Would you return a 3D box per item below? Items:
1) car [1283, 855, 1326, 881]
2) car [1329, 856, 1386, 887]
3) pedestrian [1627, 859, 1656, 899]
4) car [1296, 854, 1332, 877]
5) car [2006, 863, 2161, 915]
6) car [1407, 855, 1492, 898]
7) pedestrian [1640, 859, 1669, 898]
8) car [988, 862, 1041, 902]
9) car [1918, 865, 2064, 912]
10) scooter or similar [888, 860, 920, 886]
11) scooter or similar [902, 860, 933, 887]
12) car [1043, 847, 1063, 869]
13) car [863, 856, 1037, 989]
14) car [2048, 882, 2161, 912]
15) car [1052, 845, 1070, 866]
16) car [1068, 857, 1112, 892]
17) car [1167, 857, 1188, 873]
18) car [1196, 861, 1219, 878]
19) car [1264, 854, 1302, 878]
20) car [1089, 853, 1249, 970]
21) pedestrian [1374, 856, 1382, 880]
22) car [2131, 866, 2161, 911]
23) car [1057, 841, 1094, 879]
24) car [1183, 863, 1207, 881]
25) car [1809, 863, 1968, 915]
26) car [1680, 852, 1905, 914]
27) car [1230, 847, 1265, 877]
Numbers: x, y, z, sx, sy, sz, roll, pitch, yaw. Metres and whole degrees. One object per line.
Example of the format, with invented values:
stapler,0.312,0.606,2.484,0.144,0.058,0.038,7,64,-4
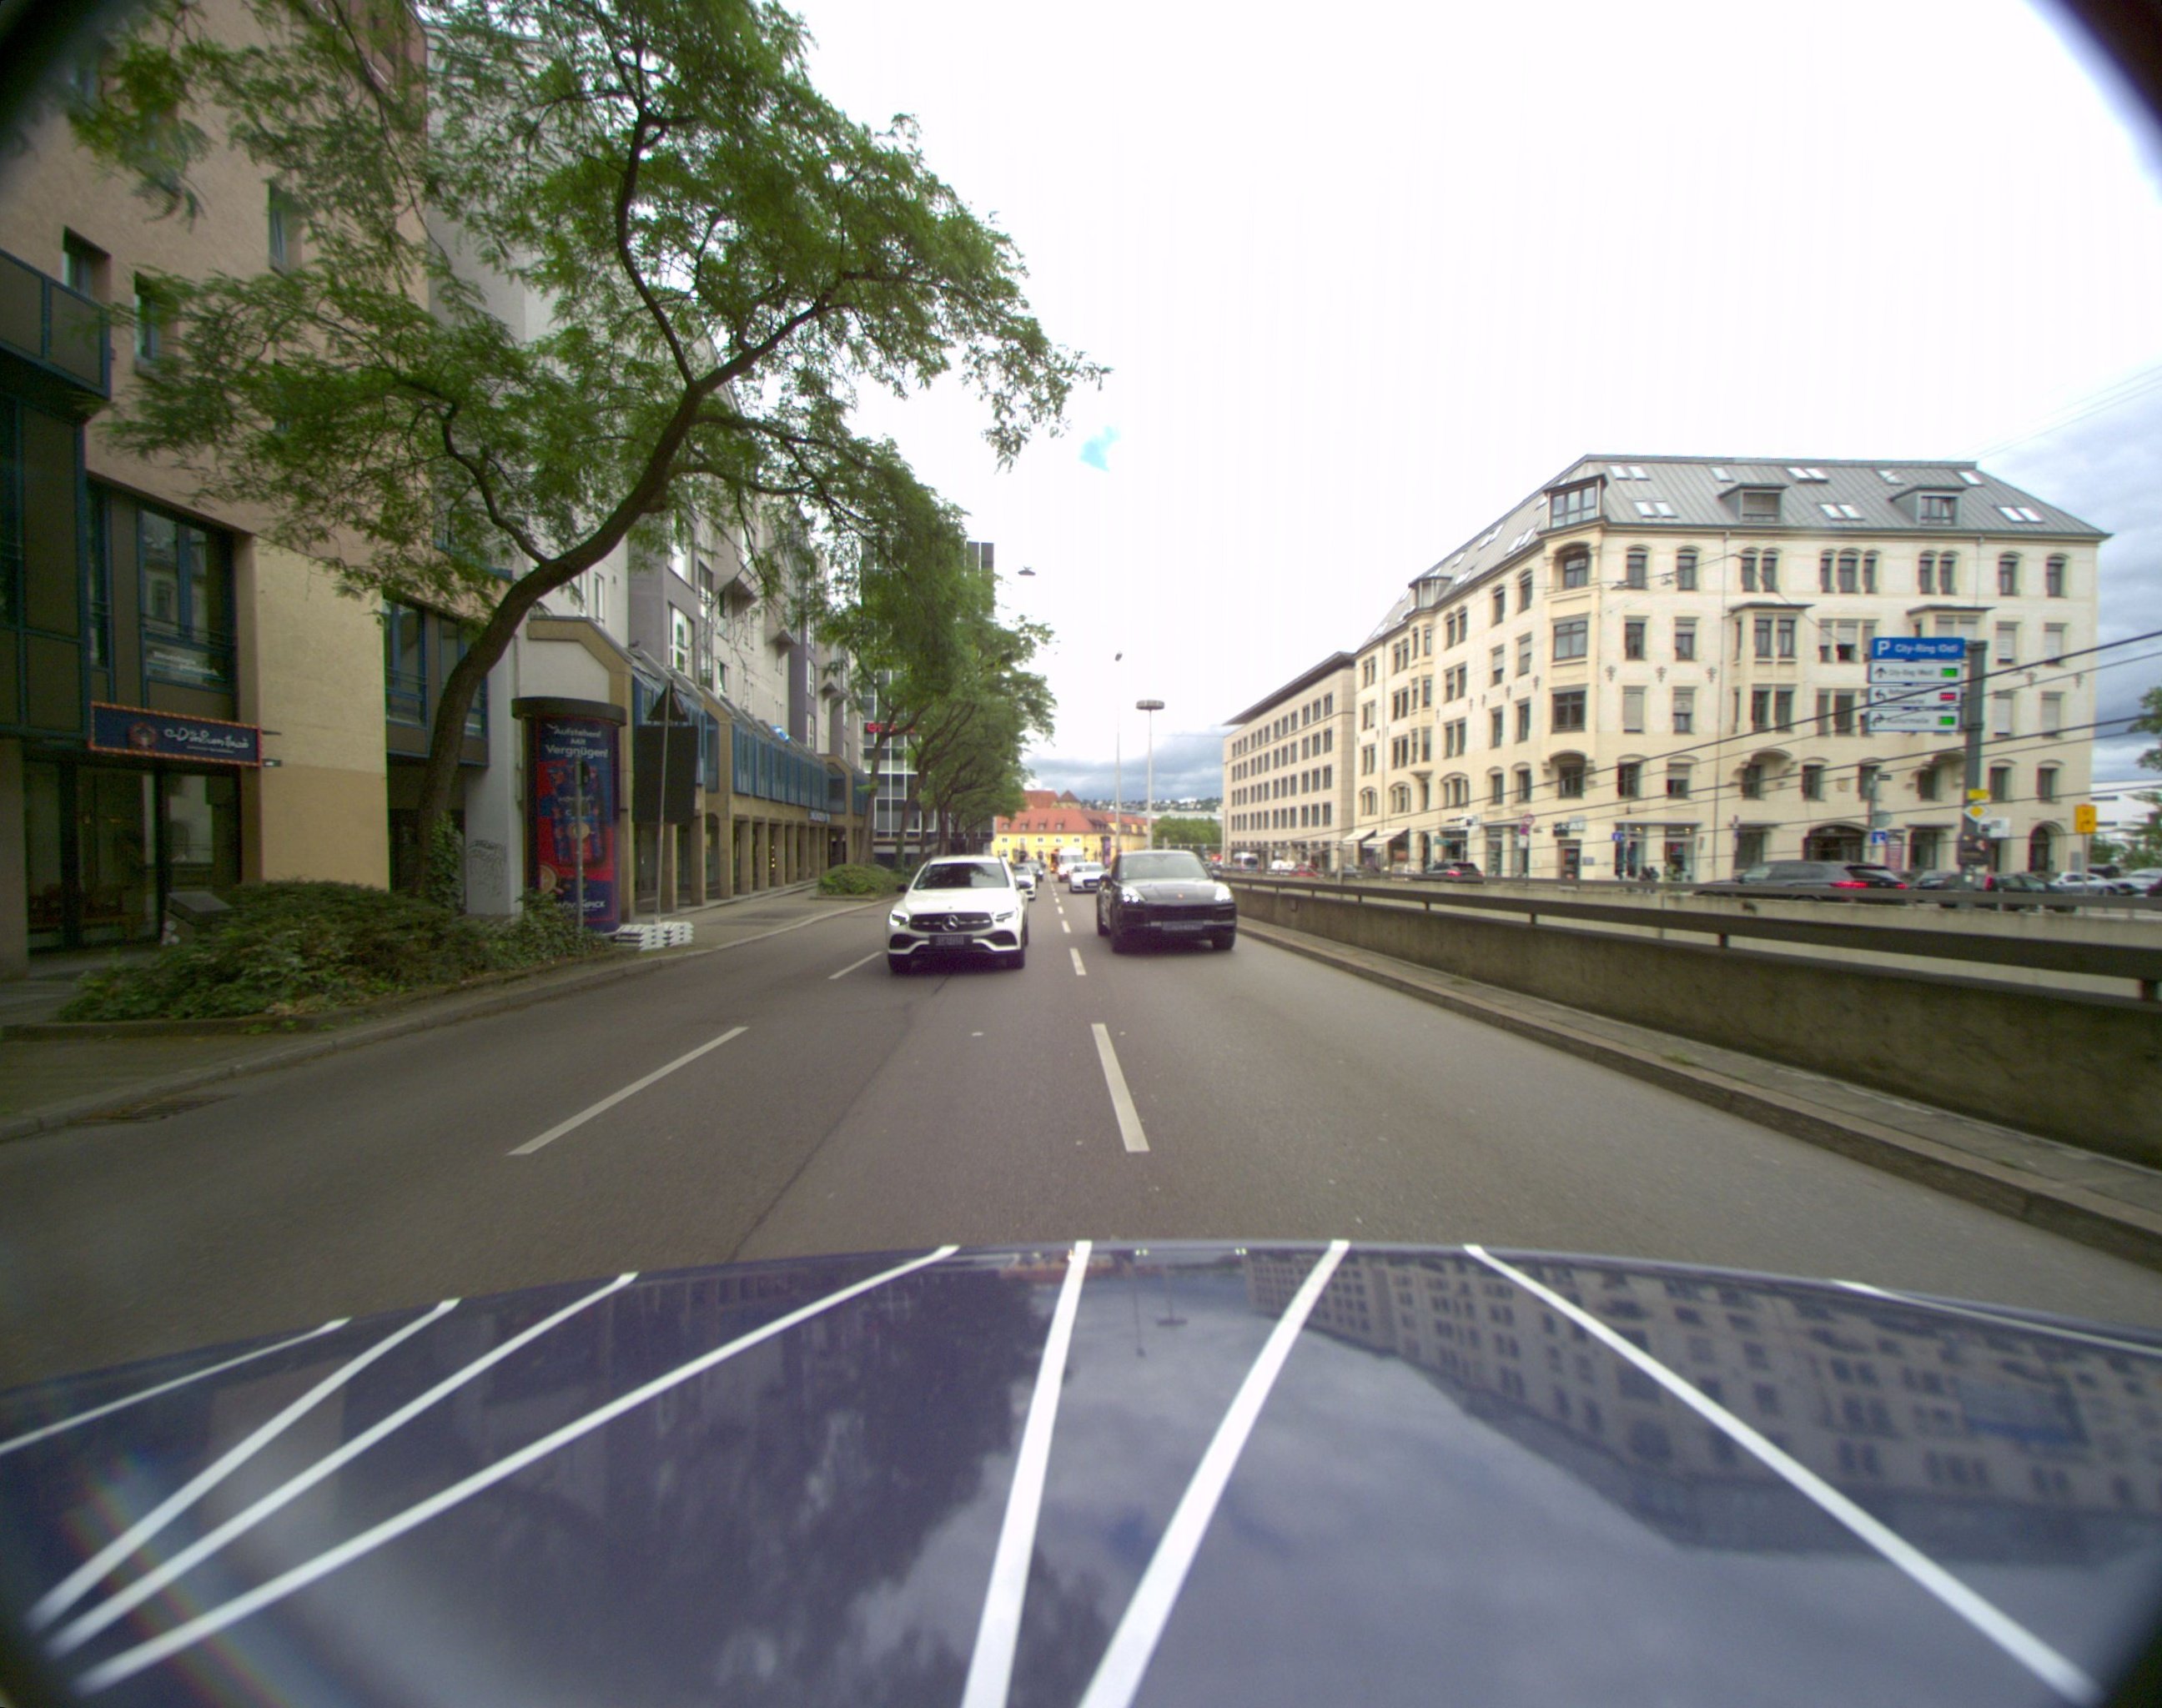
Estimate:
car,18.517,1.095,63.154,1.999,2.002,4.789,-1,0,-2
car,19.005,1.168,52.397,1.999,2.002,4.789,-1,0,-2
pedestrian,24.229,1.086,32.843,0.712,1.701,0.687,0,0,-13
car,21.815,1.057,71.195,1.999,2.002,3.999,0,0,-2
car,33.440,1.140,25.273,3.599,1.651,1.649,0,0,-5
car,19.315,1.119,40.042,1.999,2.002,4.789,-1,0,-2
pedestrian,24.973,1.066,33.106,0.712,1.701,0.687,0,0,-13
car,-2.611,1.078,30.909,1.890,1.378,4.609,-1,0,-2
car,33.011,1.233,27.617,3.599,1.651,1.649,0,0,-5
scooter or similar,-10.205,1.094,43.912,1.600,1.425,0.730,-2,1,-33
scooter or similar,-9.216,1.087,42.755,1.536,1.425,0.686,-2,1,-33
car,-3.728,0.510,102.173,2.503,2.793,5.727,-1,0,-1
car,-1.769,0.875,11.604,2.060,1.599,3.926,-1,0,-2
car,46.542,1.940,34.517,3.600,1.227,1.649,0,0,-9
car,-2.850,0.186,109.719,2.503,2.793,5.727,-1,0,-1
car,0.380,0.944,37.020,1.950,1.521,3.999,-1,0,-2
car,13.146,1.485,103.613,2.115,2.002,4.789,-1,0,-2
car,16.190,2.000,97.646,1.999,2.002,4.789,-1,0,-2
car,18.373,1.069,69.362,1.999,2.002,4.789,-1,0,-2
car,1.336,0.862,13.888,2.088,1.665,5.351,-1,0,-2
pedestrian,22.029,1.029,56.406,0.510,1.769,0.578,0,1,22
car,41.316,1.280,27.874,3.599,1.651,1.649,0,0,-5
car,-0.393,0.404,58.310,2.294,2.723,4.755,-1,0,5
car,13.670,2.168,91.193,1.999,2.002,4.789,-1,0,-2
car,26.531,1.130,25.028,3.649,1.651,1.649,0,0,-5
car,19.718,0.738,21.416,1.819,1.551,4.641,0,0,-3
car,17.813,0.798,81.605,2.370,3.043,5.468,-1,0,-2
